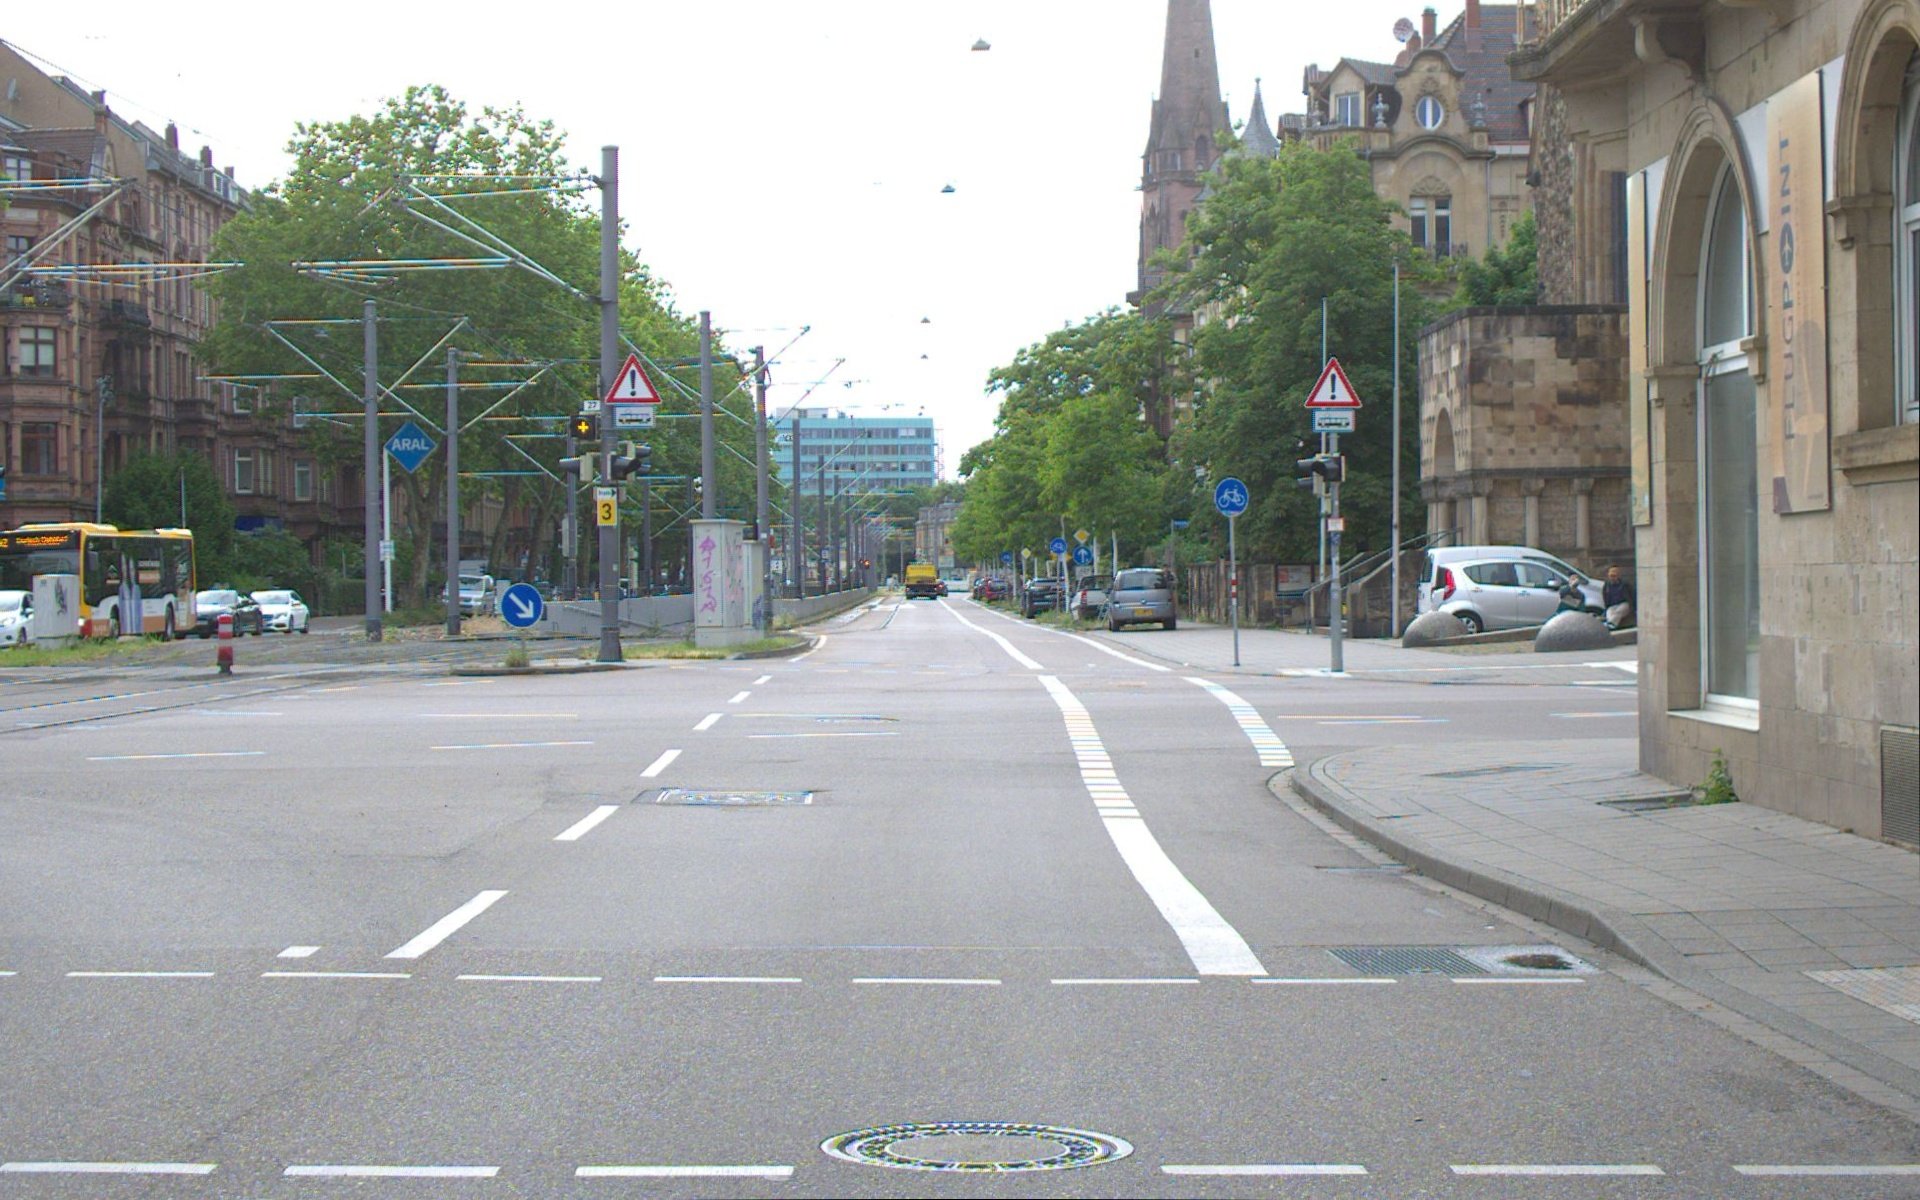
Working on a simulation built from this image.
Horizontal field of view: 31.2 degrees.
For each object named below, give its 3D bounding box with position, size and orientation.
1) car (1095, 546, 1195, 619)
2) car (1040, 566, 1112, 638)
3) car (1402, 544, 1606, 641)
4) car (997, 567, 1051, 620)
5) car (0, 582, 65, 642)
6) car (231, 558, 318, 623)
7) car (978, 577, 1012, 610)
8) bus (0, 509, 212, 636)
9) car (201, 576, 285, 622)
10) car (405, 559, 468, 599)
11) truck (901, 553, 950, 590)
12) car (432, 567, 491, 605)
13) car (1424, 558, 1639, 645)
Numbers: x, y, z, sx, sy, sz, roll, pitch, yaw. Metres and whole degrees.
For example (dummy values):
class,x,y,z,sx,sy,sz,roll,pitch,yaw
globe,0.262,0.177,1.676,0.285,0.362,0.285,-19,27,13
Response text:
class,x,y,z,sx,sy,sz,roll,pitch,yaw
car,4.865,-0.469,89.970,1.994,1.849,4.024,1,1,12
car,3.343,0.034,99.708,1.993,2.007,4.000,1,1,1
car,10.790,-0.158,68.391,3.713,1.849,2.000,1,0,0
car,2.533,-0.274,136.177,1.993,2.007,4.000,1,1,-1
car,-21.913,0.261,79.031,1.656,1.316,3.638,1,1,1
car,-21.841,-0.318,109.588,1.993,2.007,4.000,1,1,-1
car,2.191,-0.397,216.823,1.993,2.007,4.000,1,1,-1
bus,-22.480,-0.728,89.080,3.231,3.025,12.311,1,1,1
car,-21.308,-0.047,102.231,1.656,1.316,3.638,1,1,1
car,-21.540,-0.876,141.506,1.993,1.605,4.000,1,1,-1
truck,-2.594,-2.217,262.374,3.055,2.760,9.814,0,1,4
car,-21.631,-0.635,149.323,1.993,1.605,4.000,1,1,-1
car,10.762,0.019,64.922,3.713,1.558,2.000,1,0,0
